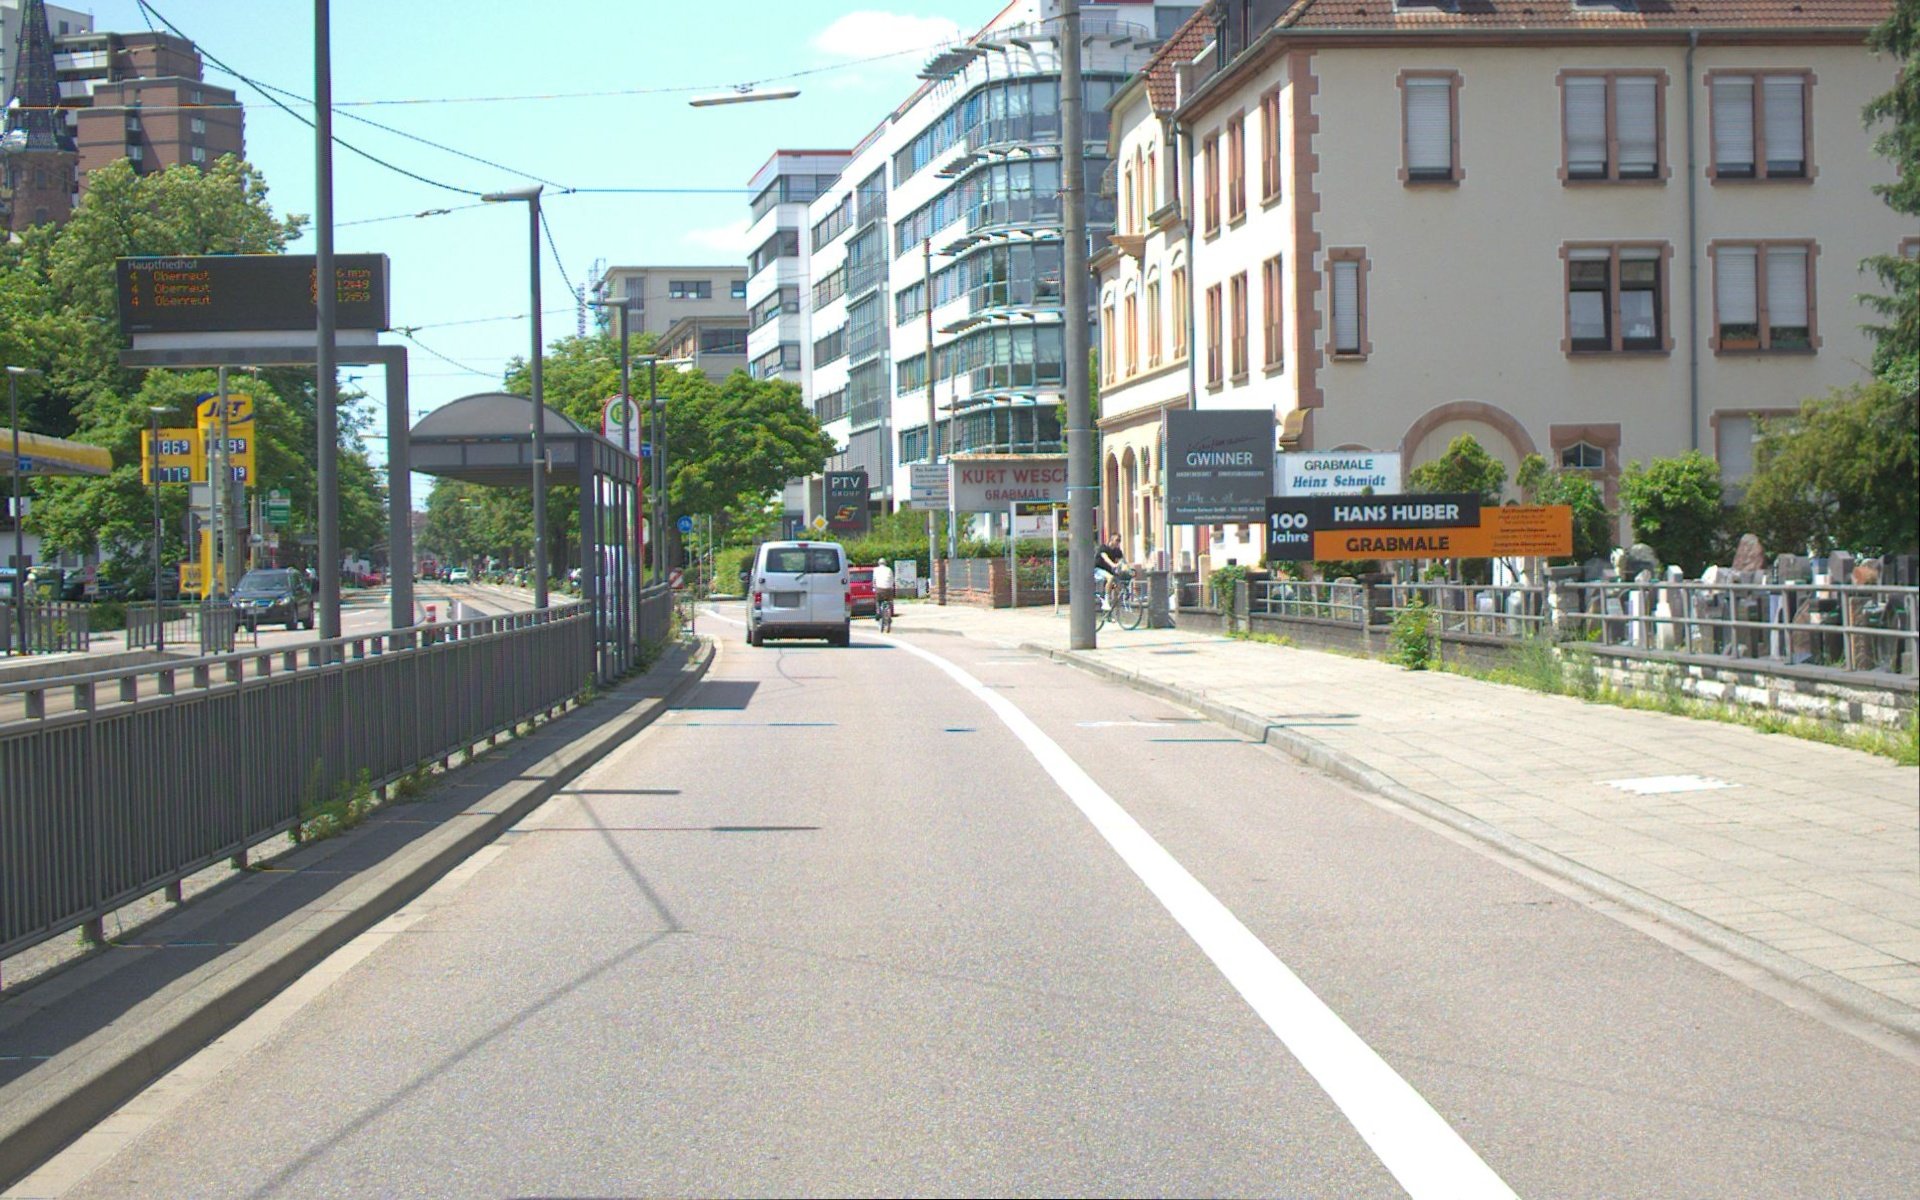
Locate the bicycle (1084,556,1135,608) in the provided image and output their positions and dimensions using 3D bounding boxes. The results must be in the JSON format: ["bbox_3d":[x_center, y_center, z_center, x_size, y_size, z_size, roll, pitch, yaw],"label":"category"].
[{"bbox_3d":[2.830,-0.335,65.041,0.356,0.937,1.317,-5,0,-24],"label":"bicycle"}]

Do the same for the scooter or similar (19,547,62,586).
[{"bbox_3d":[-36.251,-1.309,135.493,1.314,1.461,1.059,-3,1,3],"label":"scooter or similar"}]

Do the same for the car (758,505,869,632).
[{"bbox_3d":[-2.619,-0.590,60.703,1.752,2.006,4.001,-4,2,-4],"label":"car"}]

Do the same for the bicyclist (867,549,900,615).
[{"bbox_3d":[-1.671,-0.393,75.226,0.591,1.392,0.842,-2,2,-7],"label":"bicyclist"}]

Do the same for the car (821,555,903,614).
[{"bbox_3d":[-2.805,-0.461,97.318,1.711,1.447,4.073,-5,2,-9],"label":"car"}]

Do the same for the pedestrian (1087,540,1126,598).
[{"bbox_3d":[2.778,-0.590,65.011,0.483,1.050,0.537,-5,0,-22],"label":"pedestrian"}]

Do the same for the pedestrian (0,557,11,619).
[{"bbox_3d":[-26.144,-0.321,93.315,0.553,1.652,0.672,-2,1,-2],"label":"pedestrian"}]

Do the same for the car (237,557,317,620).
[{"bbox_3d":[-18.252,-0.329,91.990,1.698,1.610,3.759,-2,1,-5],"label":"car"}]

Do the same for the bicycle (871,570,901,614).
[{"bbox_3d":[-1.626,-0.176,75.190,0.465,0.884,2.048,-2,2,-6],"label":"bicycle"}]
